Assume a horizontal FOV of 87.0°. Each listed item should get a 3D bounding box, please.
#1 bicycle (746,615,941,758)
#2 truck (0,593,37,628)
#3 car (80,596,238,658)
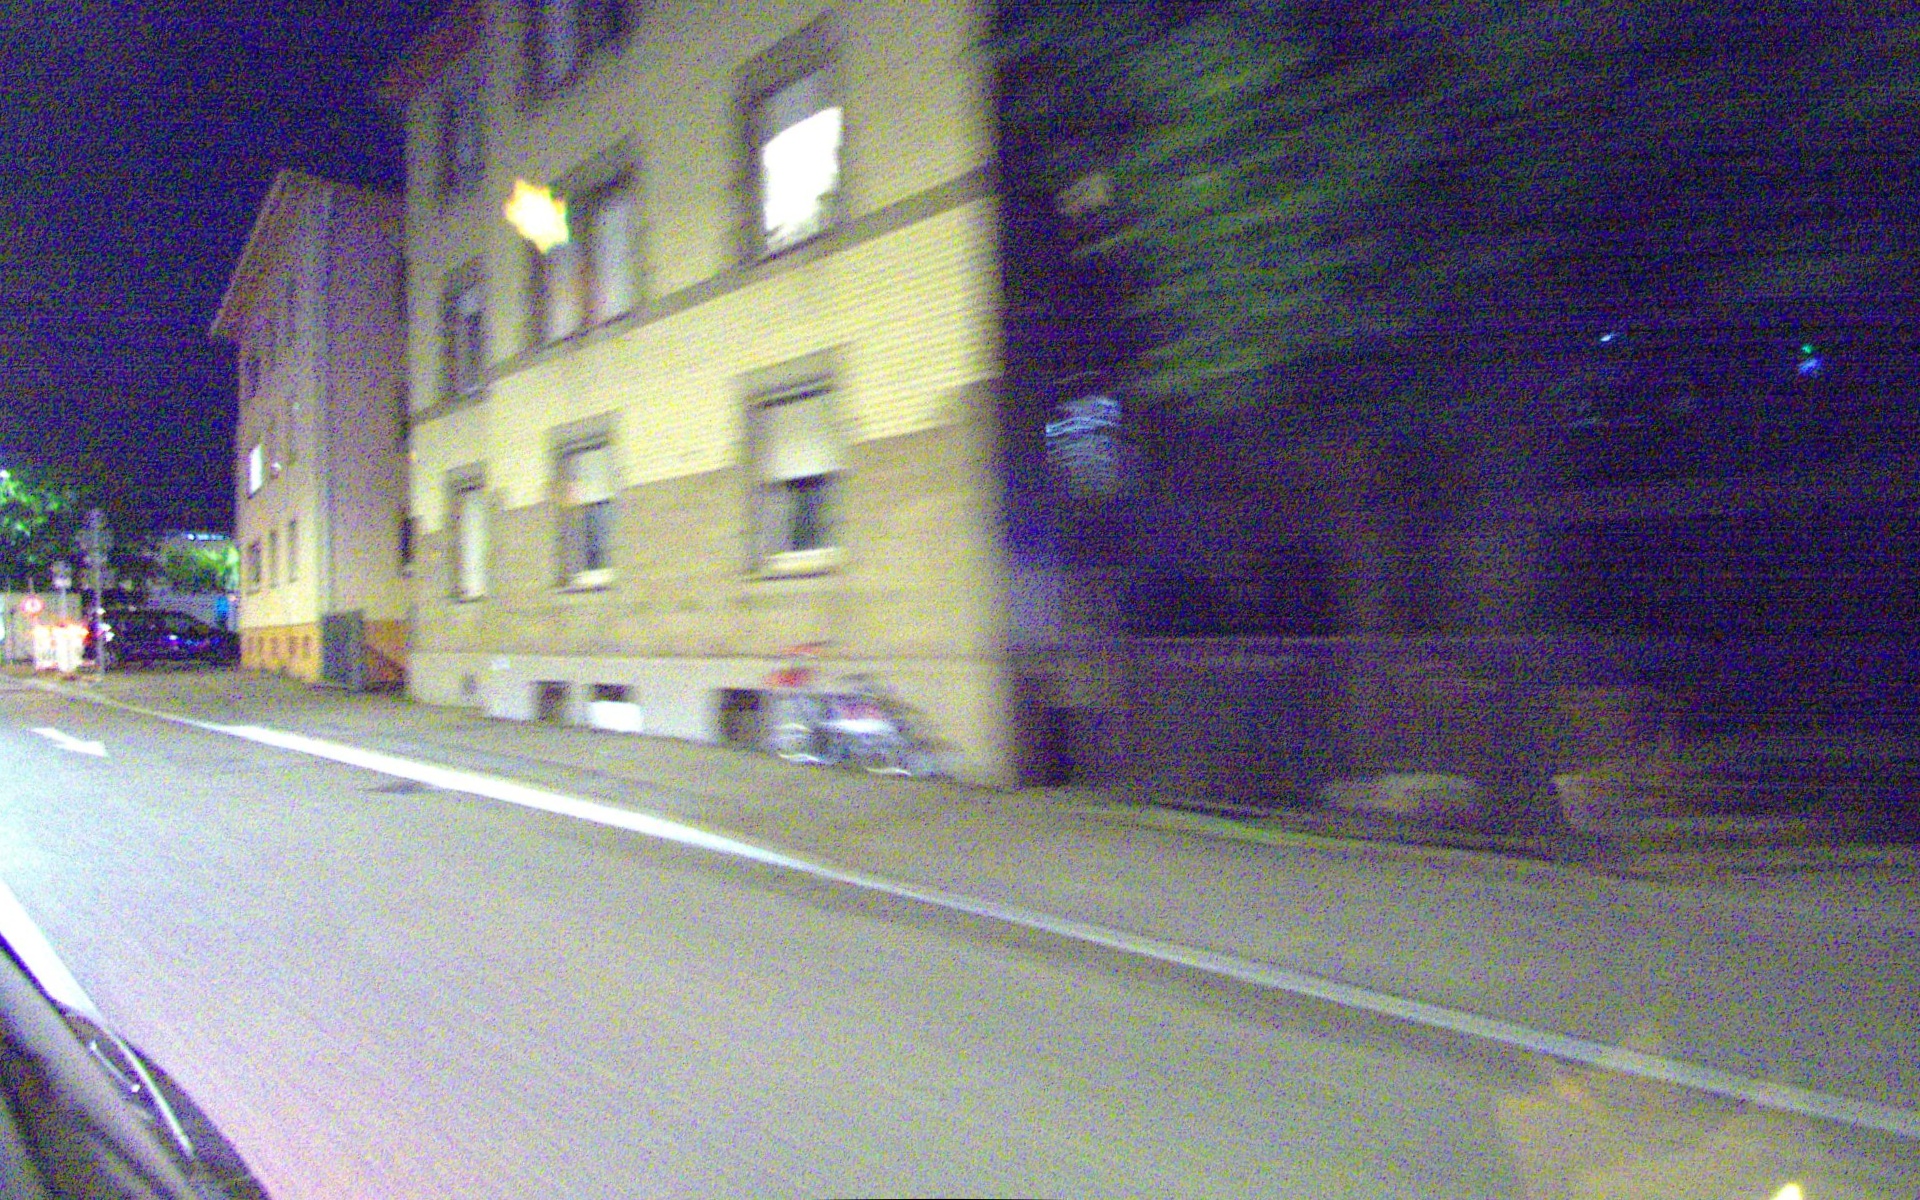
[{"bbox_3d":[-1.002,0.660,8.388,1.721,1.059,0.613,-1,-1,42],"label":"bicycle"},{"bbox_3d":[-104.602,1.126,110.047,6.105,3.722,2.407,0,0,-37],"label":"truck"},{"bbox_3d":[-25.844,0.828,32.832,3.934,1.903,1.913,0,0,-37],"label":"car"}]
